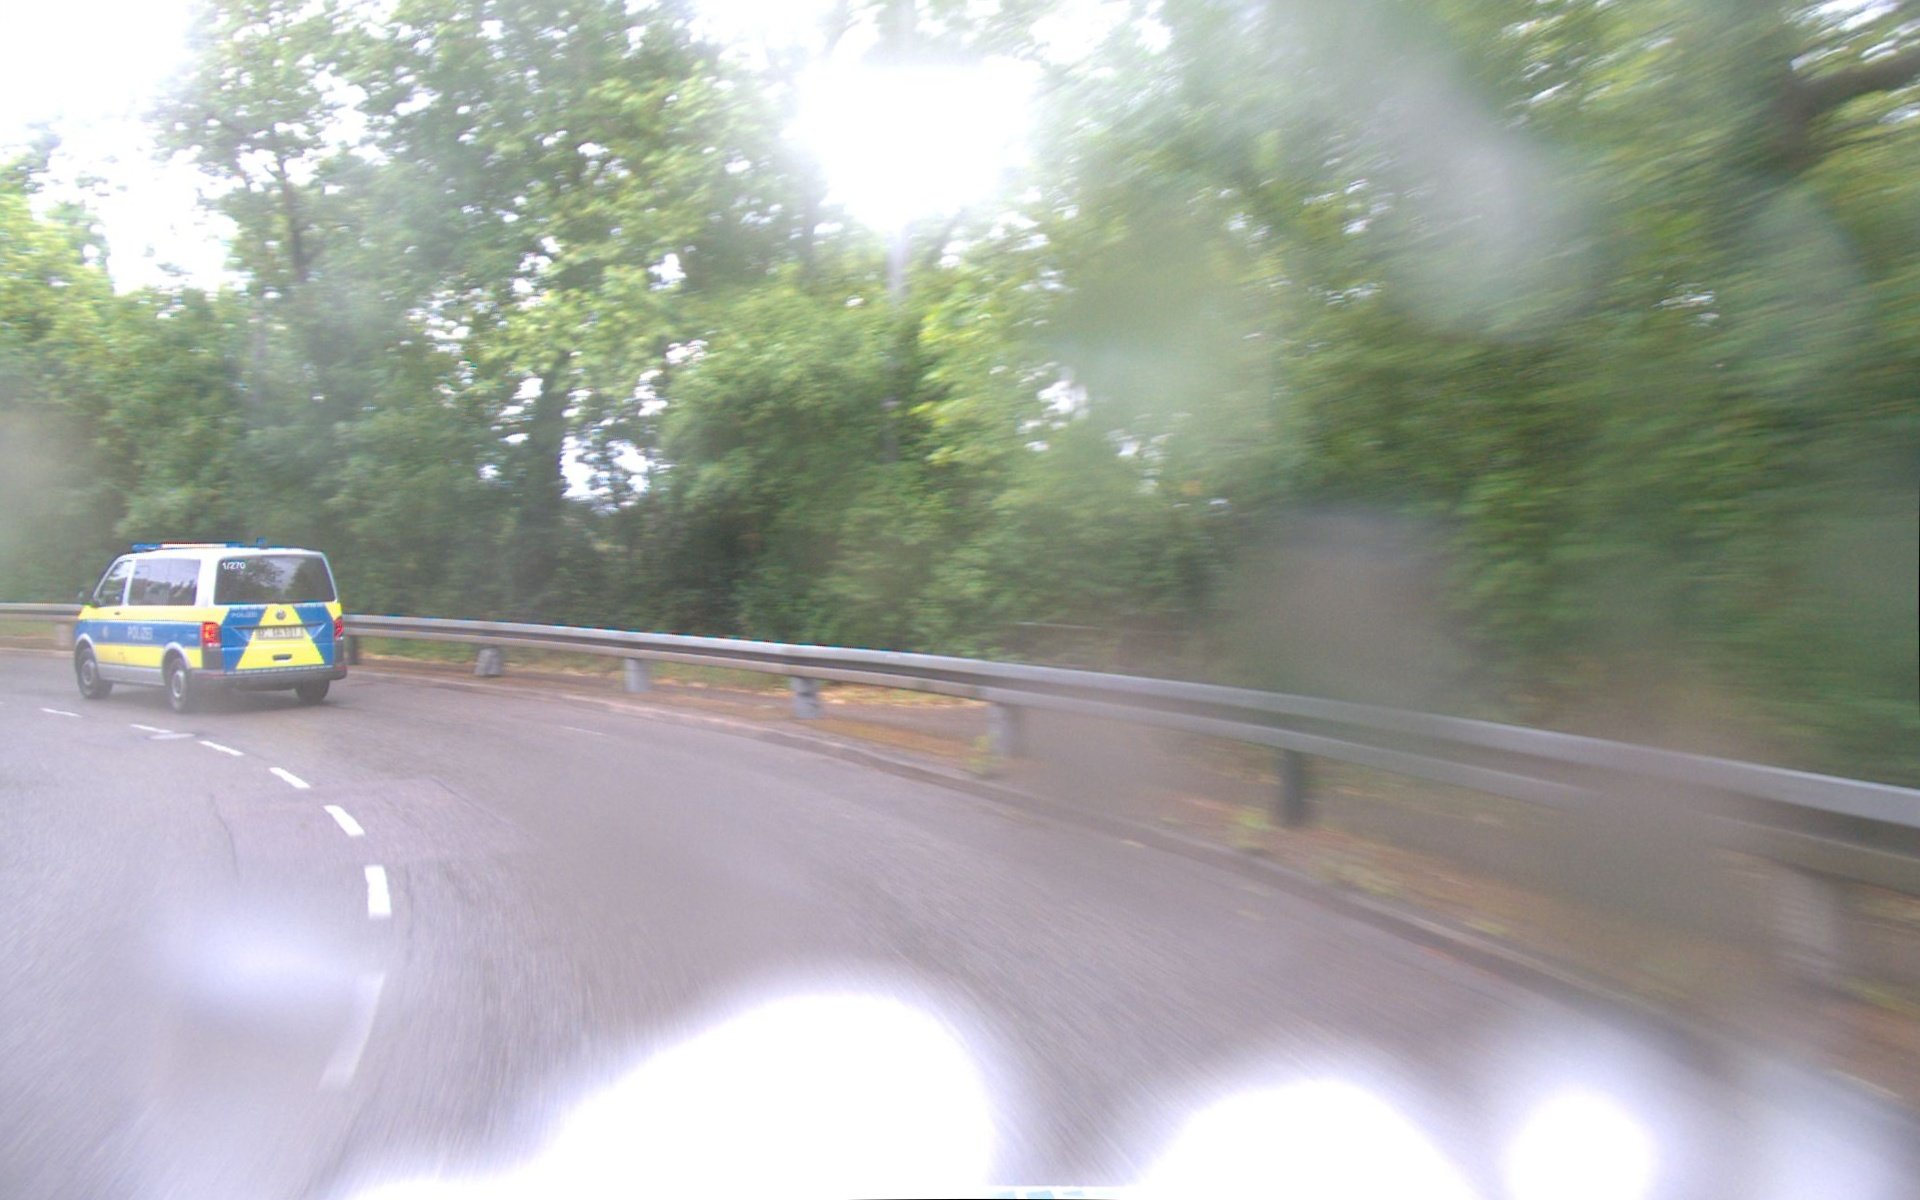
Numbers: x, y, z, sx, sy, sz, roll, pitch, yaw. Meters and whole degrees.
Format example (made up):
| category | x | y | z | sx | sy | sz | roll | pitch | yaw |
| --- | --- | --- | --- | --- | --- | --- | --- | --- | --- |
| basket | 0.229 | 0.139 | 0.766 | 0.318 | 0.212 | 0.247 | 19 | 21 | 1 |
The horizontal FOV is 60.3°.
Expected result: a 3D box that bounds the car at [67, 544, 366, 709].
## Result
| category | x | y | z | sx | sy | sz | roll | pitch | yaw |
| --- | --- | --- | --- | --- | --- | --- | --- | --- | --- |
| car | -9.756 | 0.326 | 21.550 | 4.490 | 1.926 | 1.987 | -1 | -1 | 43 |
